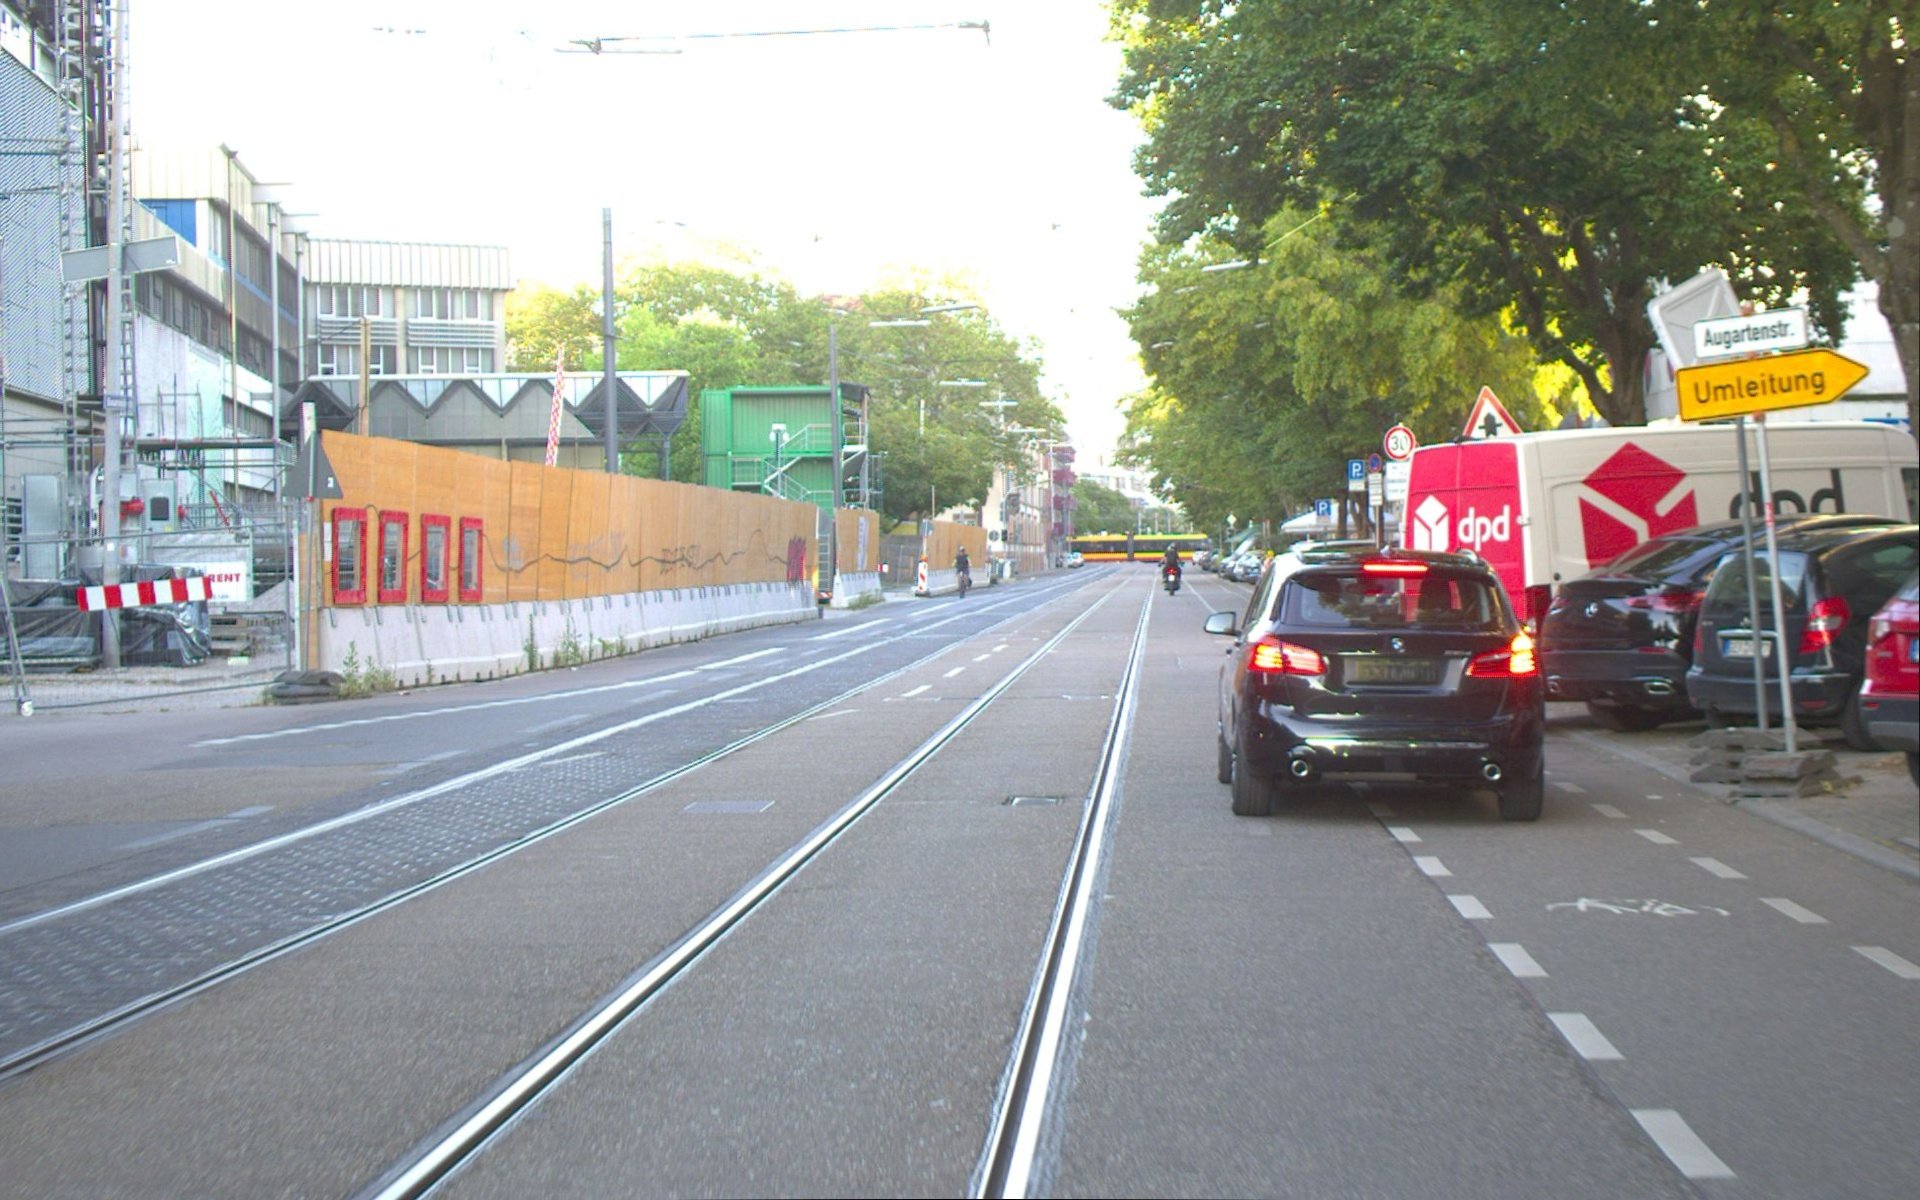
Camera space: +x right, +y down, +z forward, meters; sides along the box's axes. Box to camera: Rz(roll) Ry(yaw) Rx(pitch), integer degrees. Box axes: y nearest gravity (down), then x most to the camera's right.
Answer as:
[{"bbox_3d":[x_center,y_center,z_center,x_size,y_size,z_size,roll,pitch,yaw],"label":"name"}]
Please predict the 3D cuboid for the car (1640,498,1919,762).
[{"bbox_3d":[7.277,0.121,25.469,3.941,1.759,1.841,-4,1,-23],"label":"car"}]

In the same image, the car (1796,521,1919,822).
[{"bbox_3d":[6.862,0.296,19.058,3.941,1.598,1.841,-3,0,-23],"label":"car"}]

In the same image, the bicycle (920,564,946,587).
[{"bbox_3d":[-1.059,-0.966,133.775,0.948,0.846,2.697,-1,1,1],"label":"bicycle"}]

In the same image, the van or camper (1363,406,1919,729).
[{"bbox_3d":[6.547,-0.346,30.931,5.532,2.522,2.087,-4,1,-31],"label":"van or camper"}]

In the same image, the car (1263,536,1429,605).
[{"bbox_3d":[9.981,-0.773,89.046,3.941,1.716,1.635,-1,1,-10],"label":"car"}]

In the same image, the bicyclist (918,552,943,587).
[{"bbox_3d":[-1.132,-1.186,132.986,0.944,1.341,1.111,-1,1,1],"label":"bicyclist"}]

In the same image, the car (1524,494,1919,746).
[{"bbox_3d":[6.780,0.104,27.664,3.941,1.759,1.841,-4,1,-23],"label":"car"}]

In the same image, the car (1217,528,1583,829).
[{"bbox_3d":[2.597,0.399,21.127,1.882,1.614,4.000,2,1,3],"label":"car"}]
